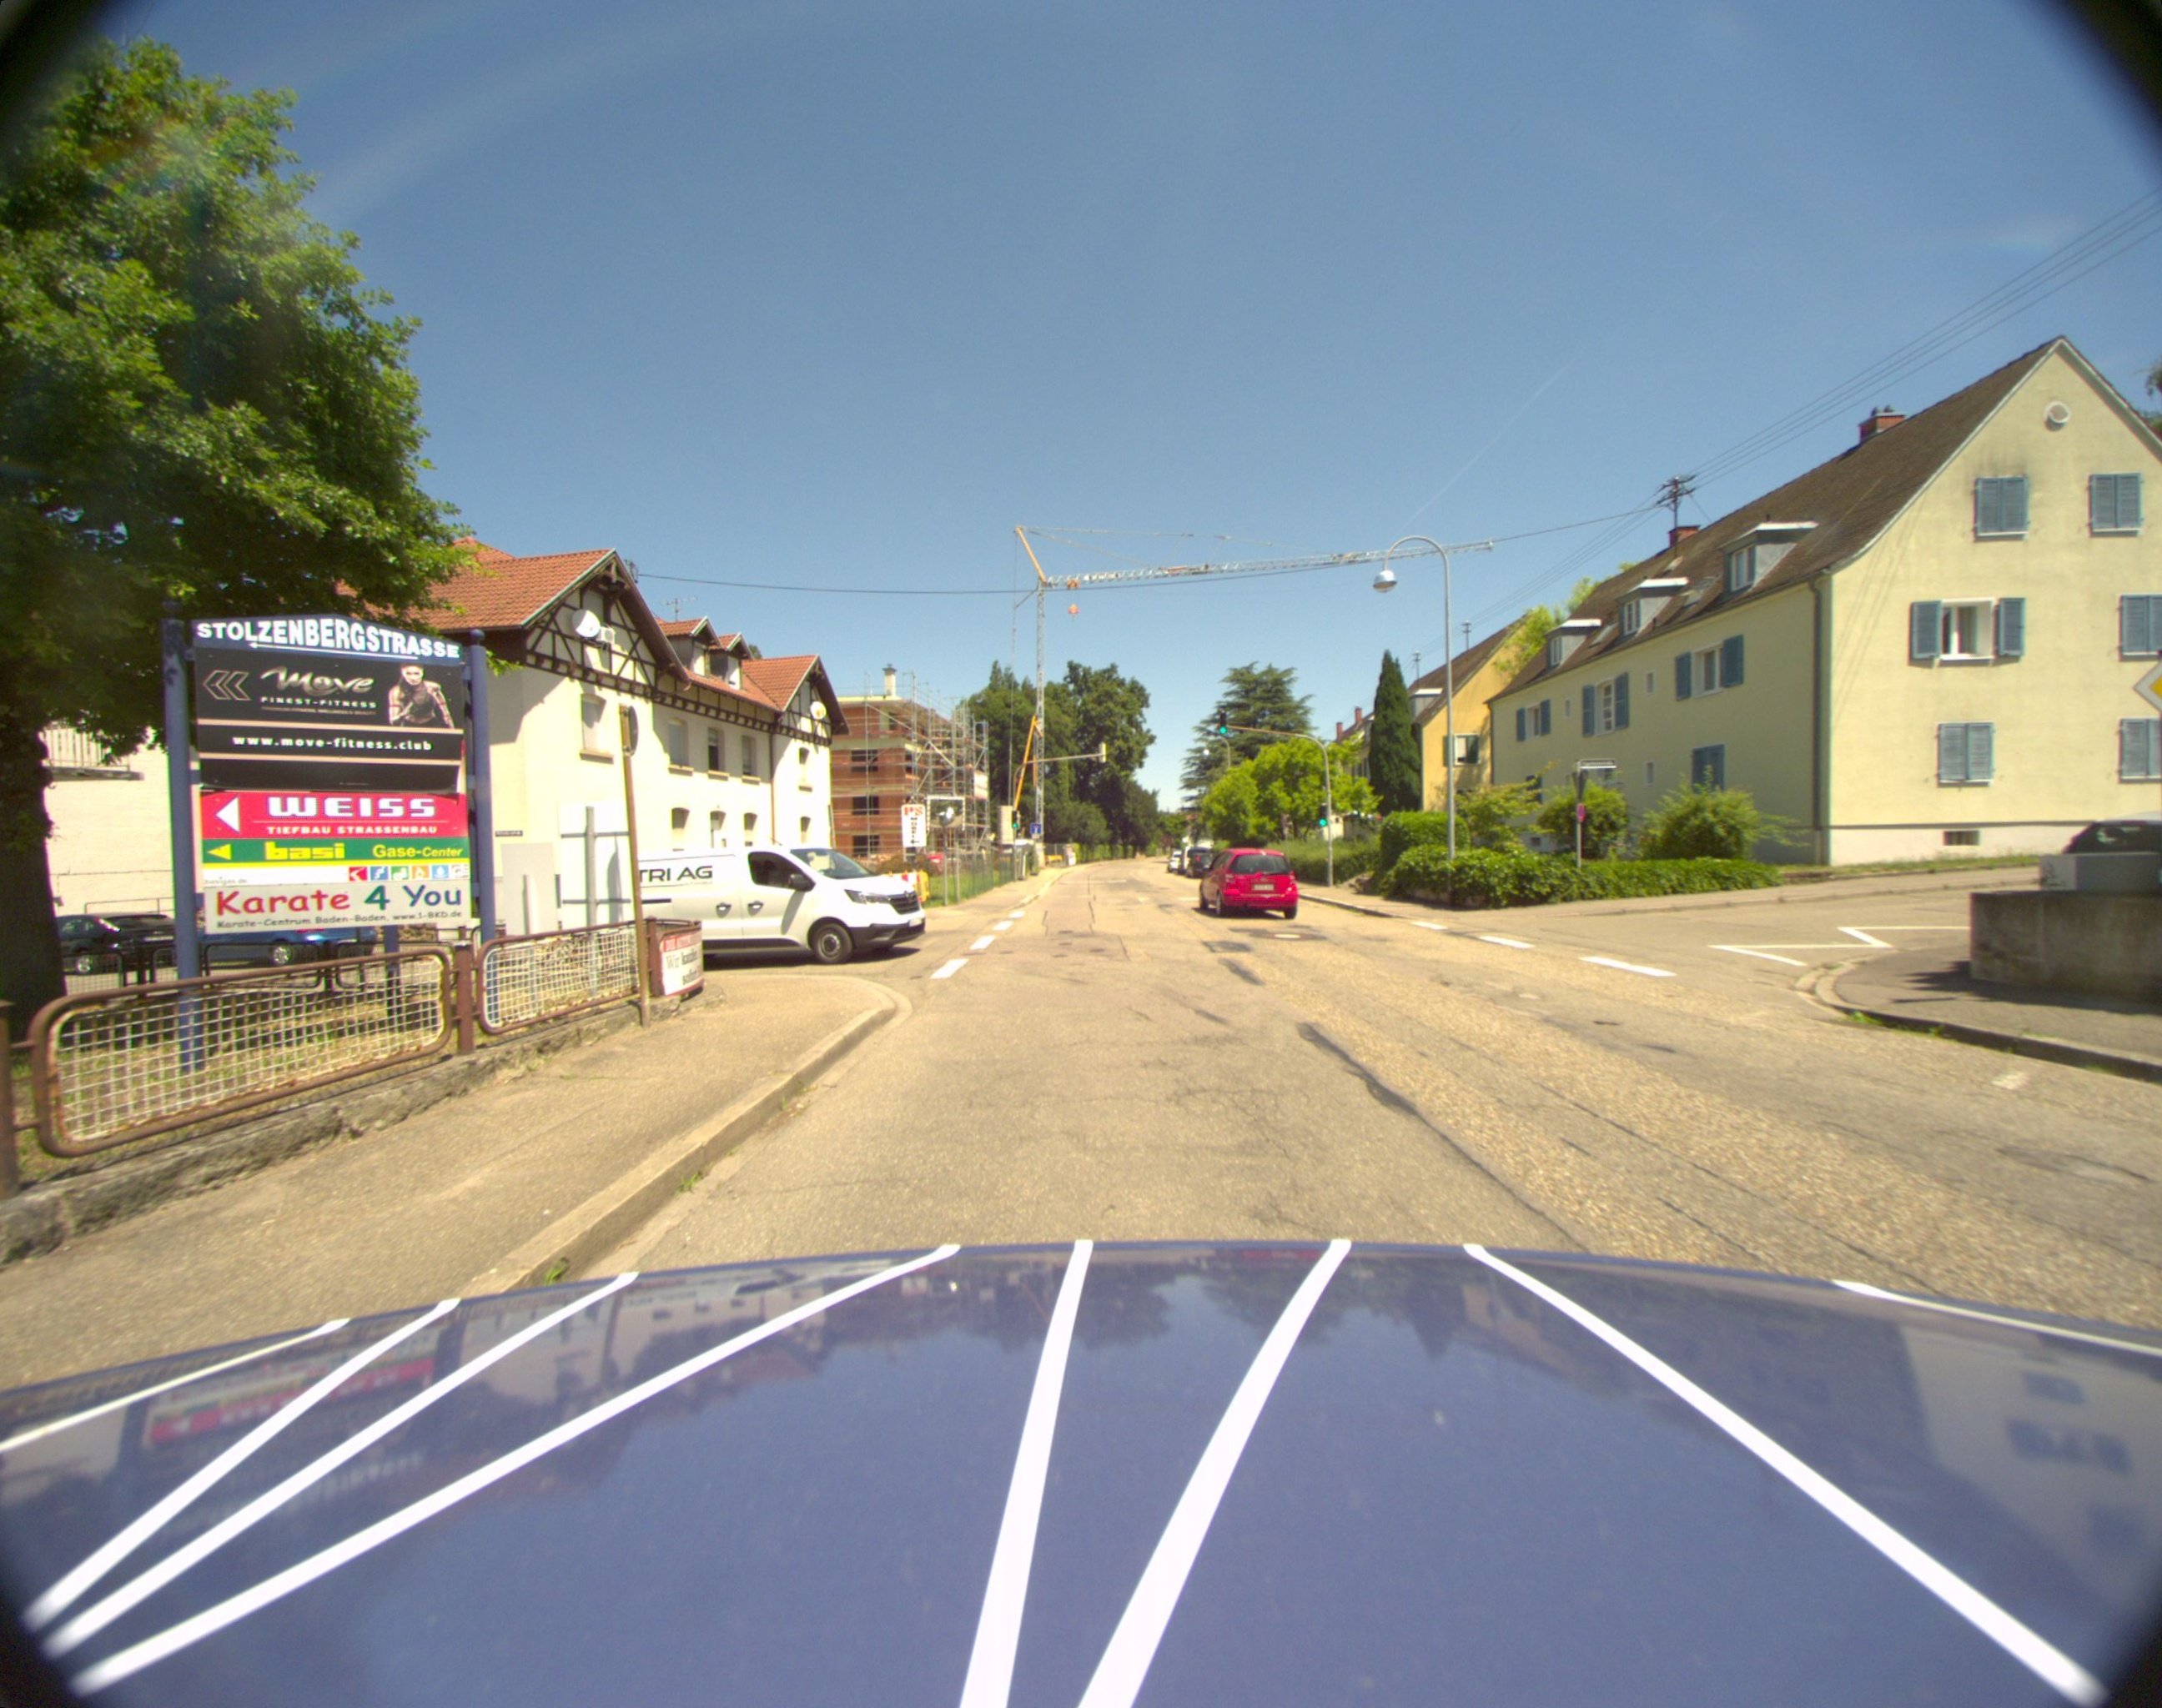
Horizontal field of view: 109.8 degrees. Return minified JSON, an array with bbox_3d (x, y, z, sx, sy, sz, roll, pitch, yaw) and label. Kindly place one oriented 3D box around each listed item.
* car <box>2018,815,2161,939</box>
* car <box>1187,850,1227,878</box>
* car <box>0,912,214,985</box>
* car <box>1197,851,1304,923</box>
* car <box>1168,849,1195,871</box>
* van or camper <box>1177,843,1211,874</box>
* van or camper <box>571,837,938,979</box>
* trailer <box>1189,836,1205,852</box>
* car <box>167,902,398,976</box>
[{"bbox_3d":[15.308,0.202,10.138,3.209,1.448,1.735,-5,1,7],"label":"car"},{"bbox_3d":[6.940,0.517,42.253,1.685,1.404,3.926,1,1,2],"label":"car"},{"bbox_3d":[-24.008,2.285,18.645,3.624,1.435,1.817,-3,0,7],"label":"car"},{"bbox_3d":[3.981,0.709,18.446,1.819,1.557,3.696,0,1,1],"label":"car"},{"bbox_3d":[6.936,0.368,52.568,1.684,1.433,4.248,1,1,5],"label":"car"},{"bbox_3d":[6.972,0.252,47.200,1.685,1.794,3.986,1,1,4],"label":"van or camper"},{"bbox_3d":[-5.373,0.871,12.802,5.354,1.968,2.001,-3,2,11],"label":"van or camper"},{"bbox_3d":[15.556,-1.295,101.750,1.817,2.021,4.003,2,1,11],"label":"trailer"},{"bbox_3d":[-19.103,2.018,18.281,3.891,1.435,1.817,-3,0,7],"label":"car"}]
